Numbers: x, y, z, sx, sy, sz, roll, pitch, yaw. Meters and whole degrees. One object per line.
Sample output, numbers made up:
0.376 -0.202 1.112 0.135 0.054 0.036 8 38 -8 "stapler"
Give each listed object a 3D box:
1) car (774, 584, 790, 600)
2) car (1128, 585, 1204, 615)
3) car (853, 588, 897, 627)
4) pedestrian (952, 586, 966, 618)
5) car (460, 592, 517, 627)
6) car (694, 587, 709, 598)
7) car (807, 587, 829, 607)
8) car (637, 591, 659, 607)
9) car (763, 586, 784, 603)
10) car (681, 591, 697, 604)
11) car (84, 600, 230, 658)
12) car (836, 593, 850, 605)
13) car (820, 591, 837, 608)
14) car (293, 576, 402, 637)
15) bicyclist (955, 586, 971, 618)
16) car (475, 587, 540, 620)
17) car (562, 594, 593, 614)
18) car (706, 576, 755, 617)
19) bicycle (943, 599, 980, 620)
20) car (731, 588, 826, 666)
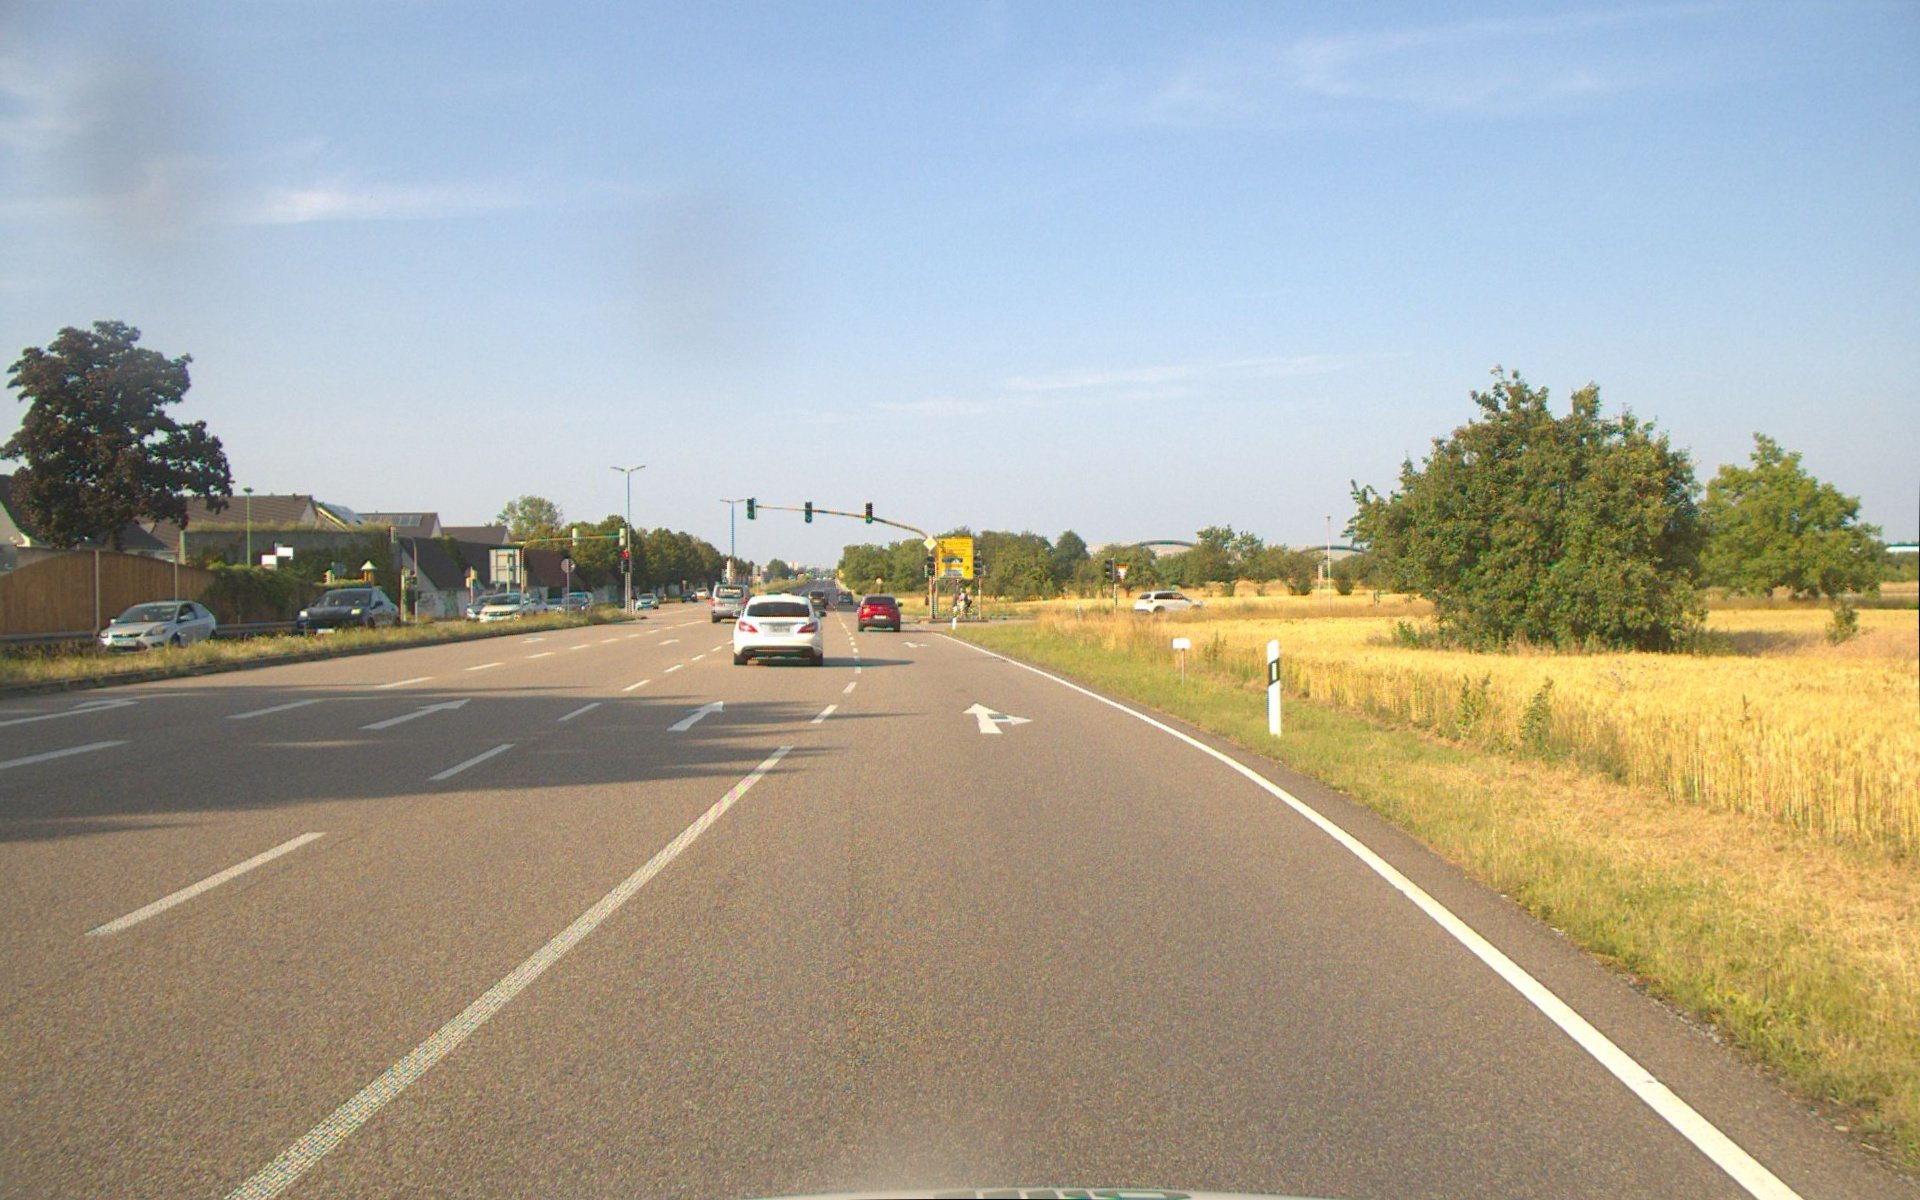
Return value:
-19.966 -0.882 185.398 1.742 1.694 3.657 1 0 -8 "car"
11.719 -0.009 94.252 3.935 1.626 1.847 1 0 -25 "car"
-3.532 0.291 68.358 1.719 1.543 3.997 0 0 -4 "car"
-0.056 0.102 91.154 0.696 1.782 0.862 1 0 -2 "pedestrian"
-24.059 0.443 84.510 1.938 1.694 4.585 1 0 -5 "car"
-36.721 -1.054 235.025 1.700 1.601 3.700 1 0 -5 "car"
-12.963 -0.295 151.184 1.802 1.713 3.999 1 0 -2 "car"
-30.000 -0.115 159.102 1.750 1.462 4.350 1 0 -8 "car"
-17.017 -0.496 151.227 1.683 1.518 3.582 1 0 -4 "car"
-34.467 -0.357 210.691 1.700 1.601 3.700 1 0 -5 "car"
-20.611 0.703 42.673 1.745 1.346 4.601 1 0 -4 "car"
-12.683 -0.103 179.572 1.411 1.306 2.912 1 0 -4 "car"
-13.735 -0.058 172.983 1.677 1.766 3.864 1 0 -5 "car"
-17.913 0.165 48.586 1.697 1.653 4.918 1 0 -5 "car"
0.186 0.105 93.013 0.831 1.786 0.798 1 0 -3 "bicyclist"
-19.328 0.136 70.830 1.837 1.344 4.709 1 0 -5 "car"
-26.392 0.270 114.242 1.652 1.308 3.144 1 0 -5 "car"
-11.421 -0.225 82.668 1.985 1.924 4.955 1 1 -4 "car"
0.090 0.518 93.026 2.053 1.108 0.807 1 0 -1 "bicycle"
-3.789 0.524 35.104 1.857 1.535 3.996 0 0 -5 "car"
